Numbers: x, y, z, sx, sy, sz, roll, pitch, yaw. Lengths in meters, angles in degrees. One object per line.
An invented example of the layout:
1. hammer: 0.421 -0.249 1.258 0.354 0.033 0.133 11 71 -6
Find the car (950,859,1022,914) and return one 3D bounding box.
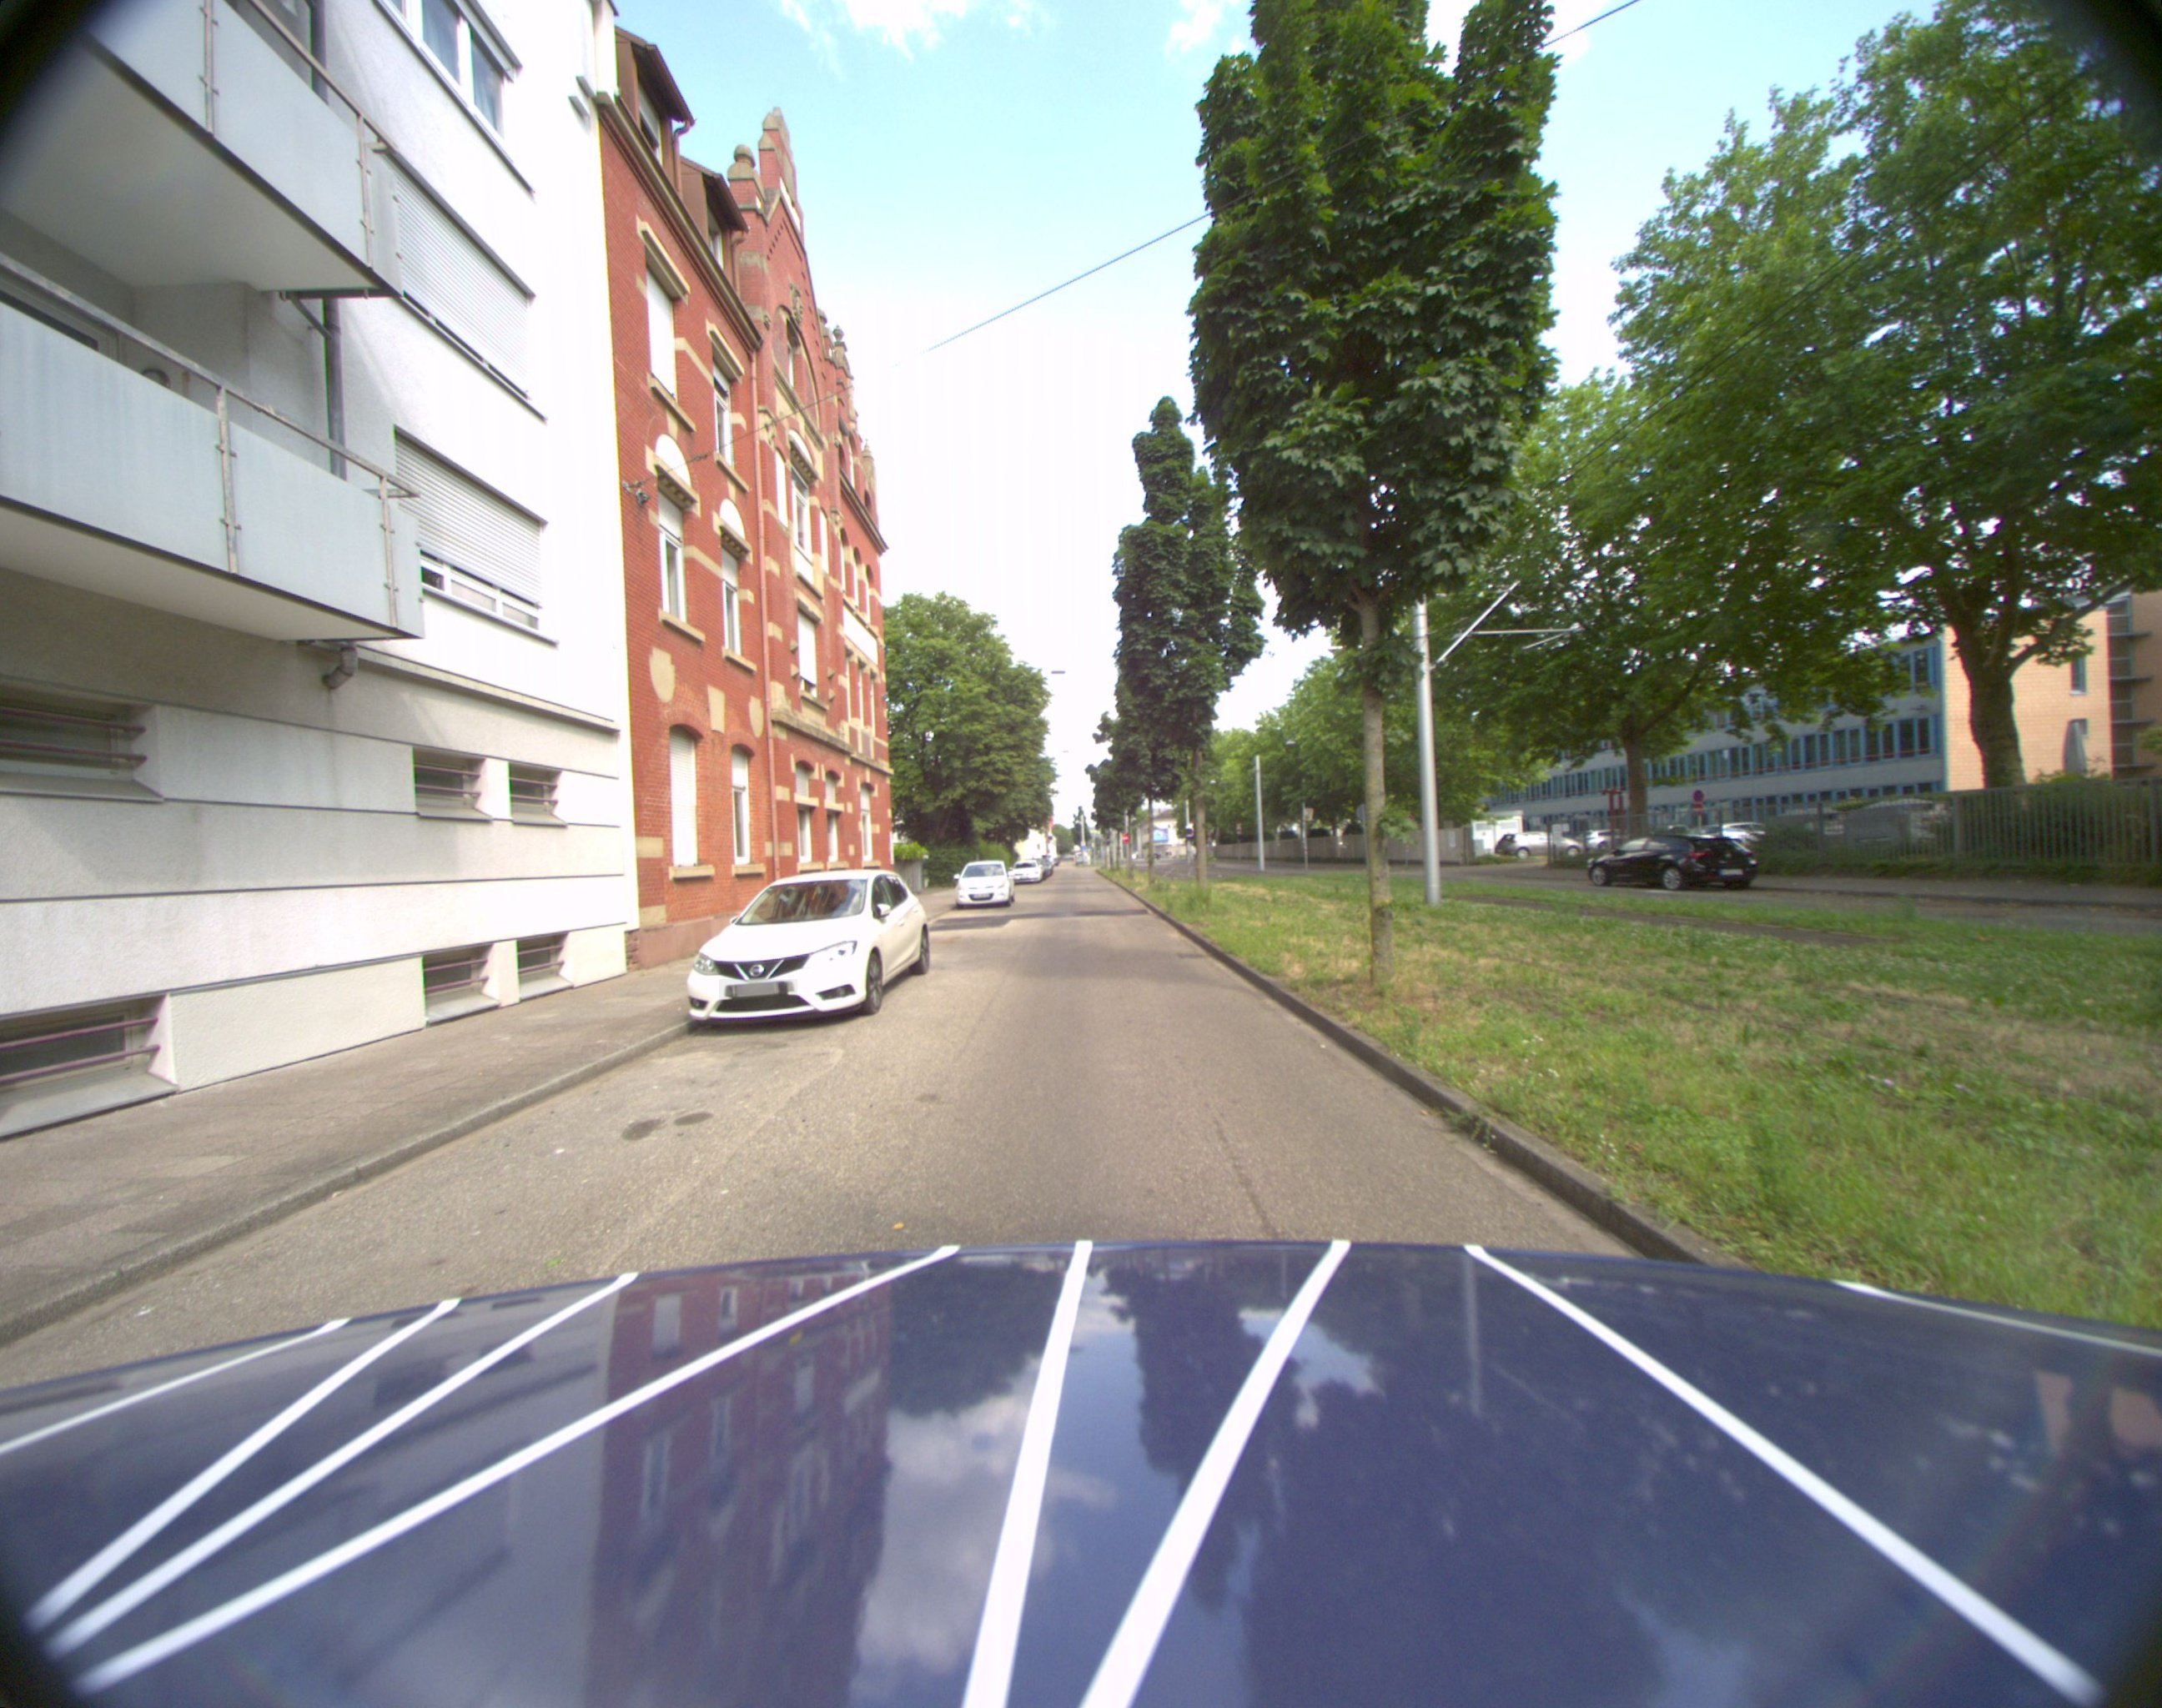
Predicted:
1. car: -3.071 1.004 25.273 1.801 1.521 4.040 -4 0 0

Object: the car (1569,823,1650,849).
1. car: 35.385 -1.176 50.938 3.997 1.608 1.999 -2 1 -2

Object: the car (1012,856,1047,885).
1. car: -3.128 0.969 46.739 1.801 1.521 4.040 -5 0 0

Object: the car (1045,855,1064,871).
1. car: -2.725 0.914 78.949 1.801 1.521 4.040 -5 0 0

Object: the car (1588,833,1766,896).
1. car: 15.561 0.241 20.141 1.601 1.455 4.000 -3 0 2

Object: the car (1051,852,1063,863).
1. car: -3.843 0.590 122.062 1.801 1.521 4.040 -5 0 0

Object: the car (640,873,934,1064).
1. car: -3.050 1.084 8.894 1.801 1.521 4.040 -3 0 0

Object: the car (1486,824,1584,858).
1. car: 23.977 -0.694 40.226 3.997 1.608 1.999 -2 1 -2

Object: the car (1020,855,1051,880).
1. car: -3.156 0.898 52.982 1.801 1.521 4.040 -5 0 0

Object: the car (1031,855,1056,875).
1. car: -3.127 0.891 63.855 1.801 1.521 4.040 -5 0 0

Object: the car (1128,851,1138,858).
1. car: 11.422 0.125 167.798 1.801 1.521 4.040 -4 0 0

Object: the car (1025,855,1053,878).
1. car: -3.194 0.939 58.442 1.801 1.521 4.040 -5 0 0

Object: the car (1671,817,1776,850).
1. car: 34.569 -1.064 40.949 3.997 1.608 1.999 -2 1 -2
